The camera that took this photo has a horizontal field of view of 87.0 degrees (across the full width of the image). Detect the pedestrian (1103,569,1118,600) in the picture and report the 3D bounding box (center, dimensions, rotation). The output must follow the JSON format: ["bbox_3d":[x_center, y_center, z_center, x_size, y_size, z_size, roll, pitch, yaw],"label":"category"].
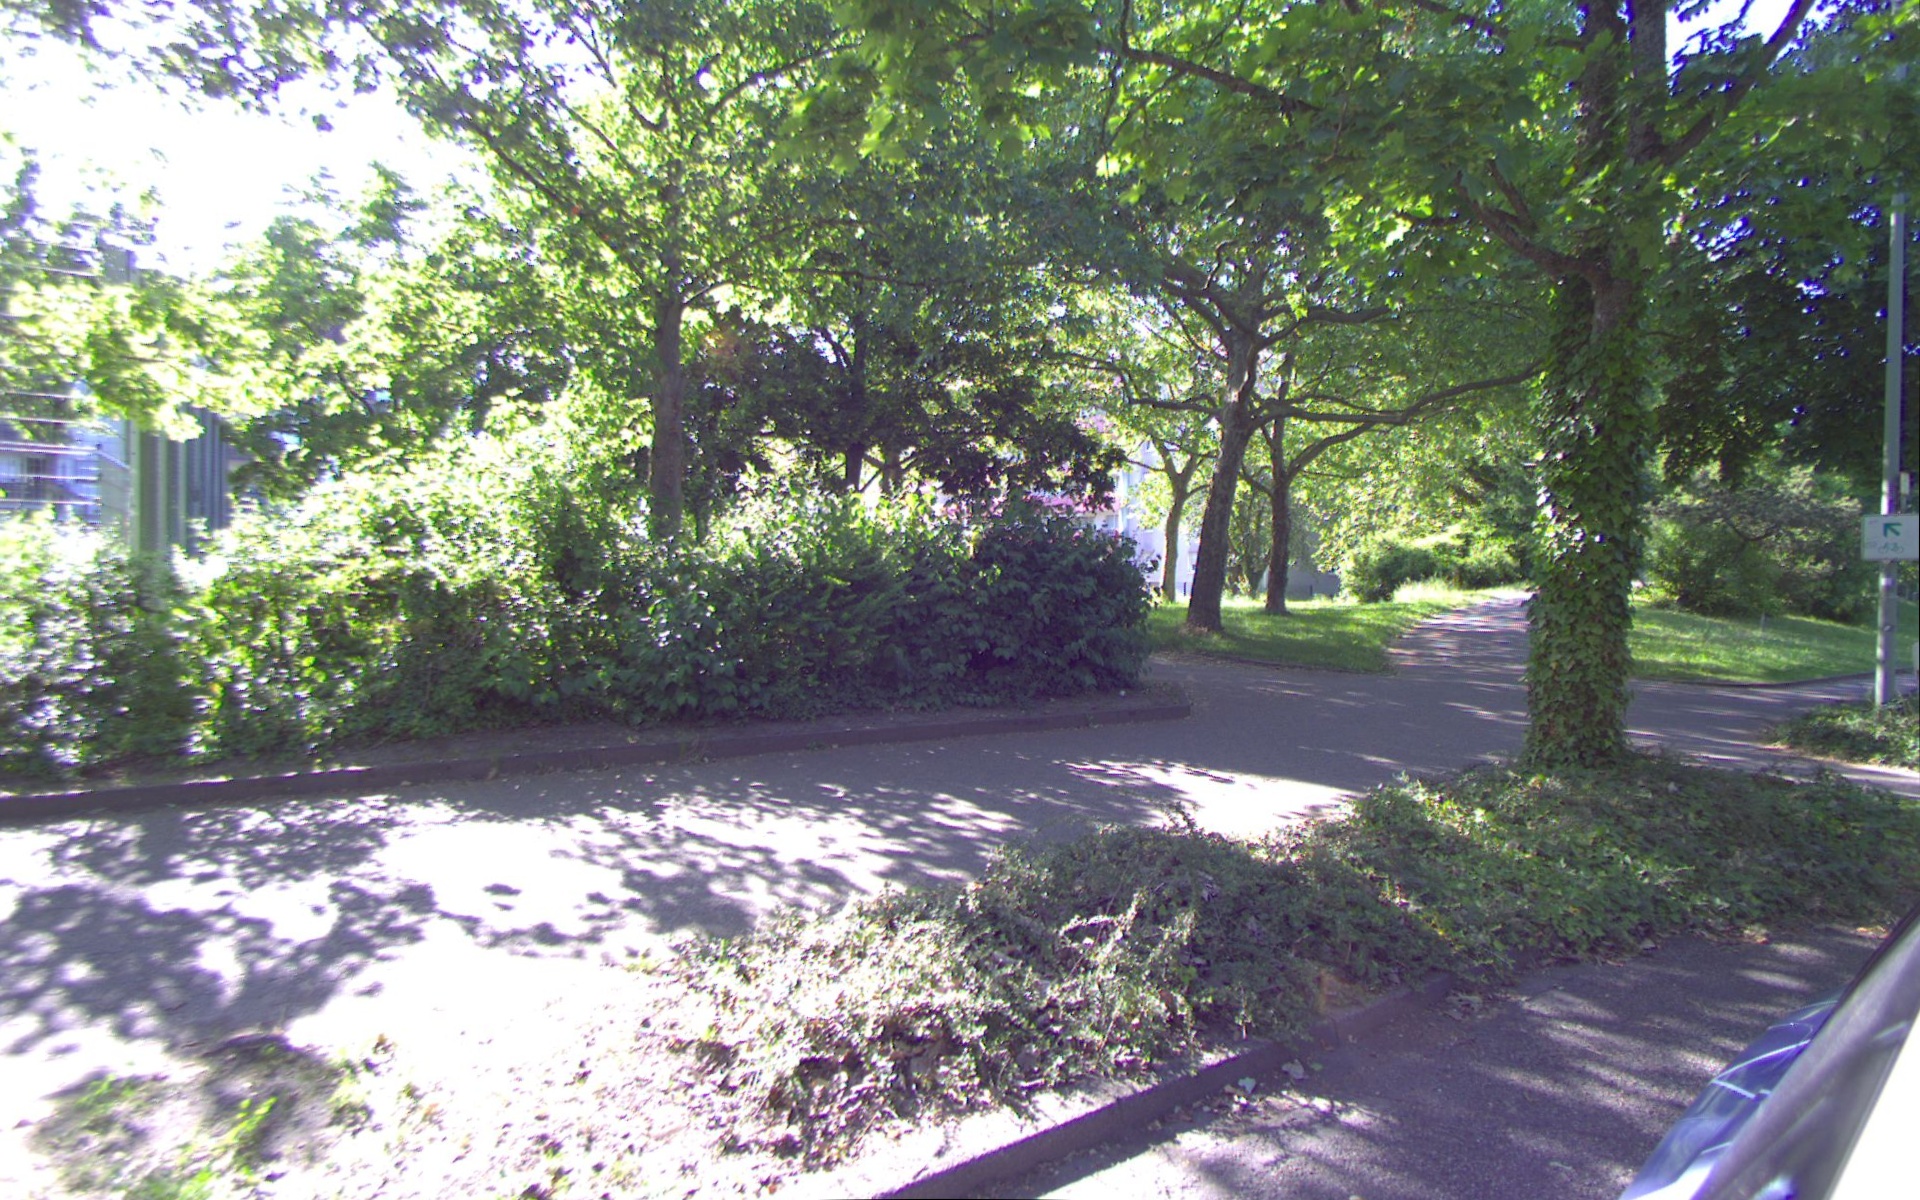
[{"bbox_3d":[7.861,-0.799,52.864,0.620,1.609,0.674,-1,-1,26],"label":"pedestrian"}]
